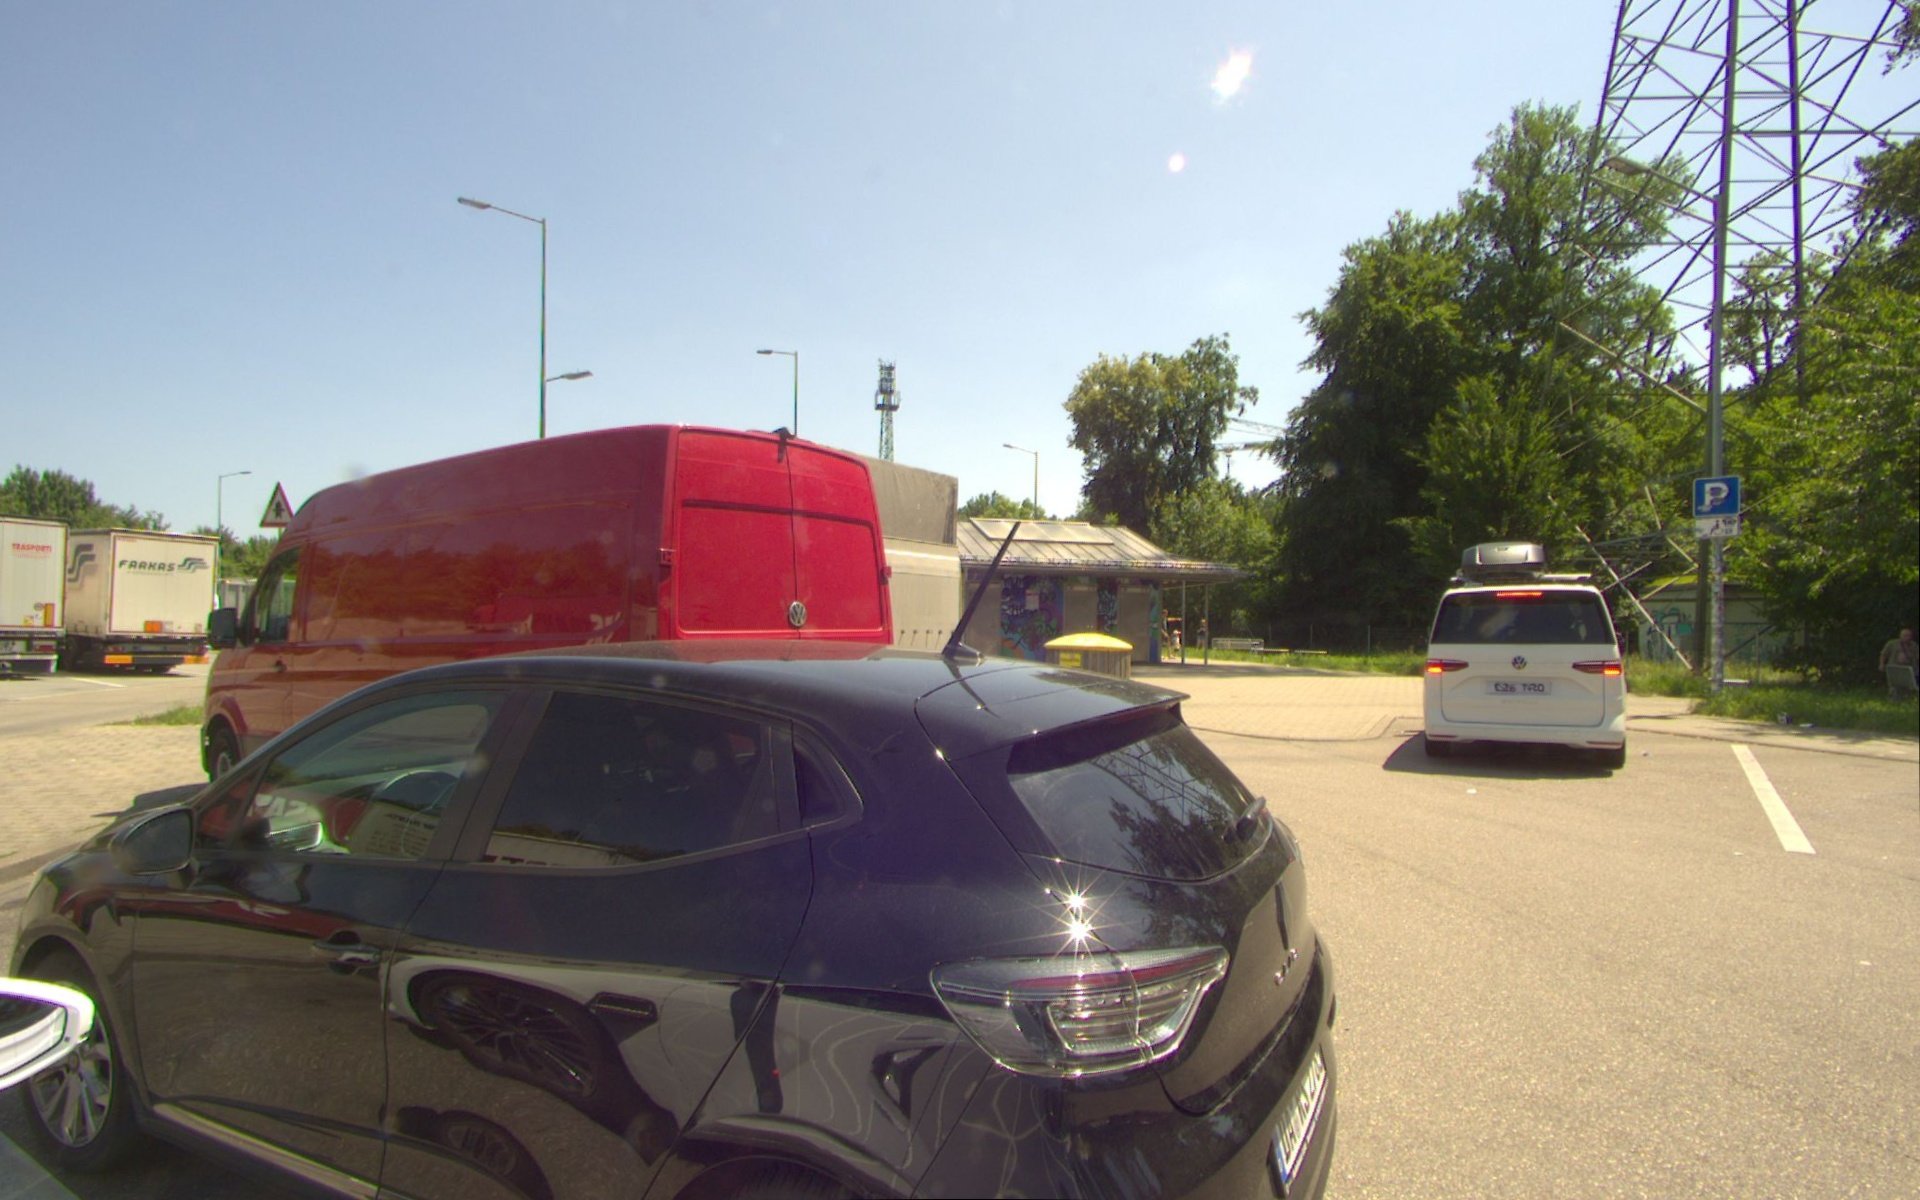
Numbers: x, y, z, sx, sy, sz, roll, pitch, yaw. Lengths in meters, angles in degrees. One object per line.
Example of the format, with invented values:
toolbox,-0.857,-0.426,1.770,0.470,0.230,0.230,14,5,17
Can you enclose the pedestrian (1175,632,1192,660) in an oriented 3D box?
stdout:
pedestrian,8.266,1.689,37.027,0.449,1.018,0.434,1,0,-10

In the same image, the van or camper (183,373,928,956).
van or camper,-3.368,0.325,7.332,6.394,2.688,1.990,0,-1,36

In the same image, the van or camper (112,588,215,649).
van or camper,-35.785,0.819,44.944,5.296,2.595,2.100,0,-1,34

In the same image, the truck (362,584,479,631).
truck,-34.721,0.475,64.259,9.637,2.857,2.121,0,-1,33

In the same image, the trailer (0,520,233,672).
trailer,-27.295,-0.196,31.445,12.255,4.090,2.862,2,-1,33

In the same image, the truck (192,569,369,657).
truck,-31.692,0.512,46.457,11.255,3.615,2.484,2,-1,33

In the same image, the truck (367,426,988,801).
truck,-3.263,0.135,10.538,6.874,2.828,2.460,0,-1,35

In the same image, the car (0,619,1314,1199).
car,-1.062,0.836,2.824,3.706,1.503,1.615,0,-1,27

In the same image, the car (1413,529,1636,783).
car,6.538,0.571,11.537,1.892,2.354,4.074,-1,-1,32

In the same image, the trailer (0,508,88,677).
trailer,-28.355,-0.327,27.780,12.255,4.090,2.862,2,-1,33

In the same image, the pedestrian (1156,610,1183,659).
pedestrian,7.720,1.265,36.881,0.708,1.773,0.739,1,0,-10

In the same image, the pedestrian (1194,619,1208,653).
pedestrian,10.955,1.625,45.579,0.582,1.536,0.588,1,0,15

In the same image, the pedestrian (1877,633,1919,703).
pedestrian,19.130,1.362,20.221,0.696,1.392,0.606,1,0,19
